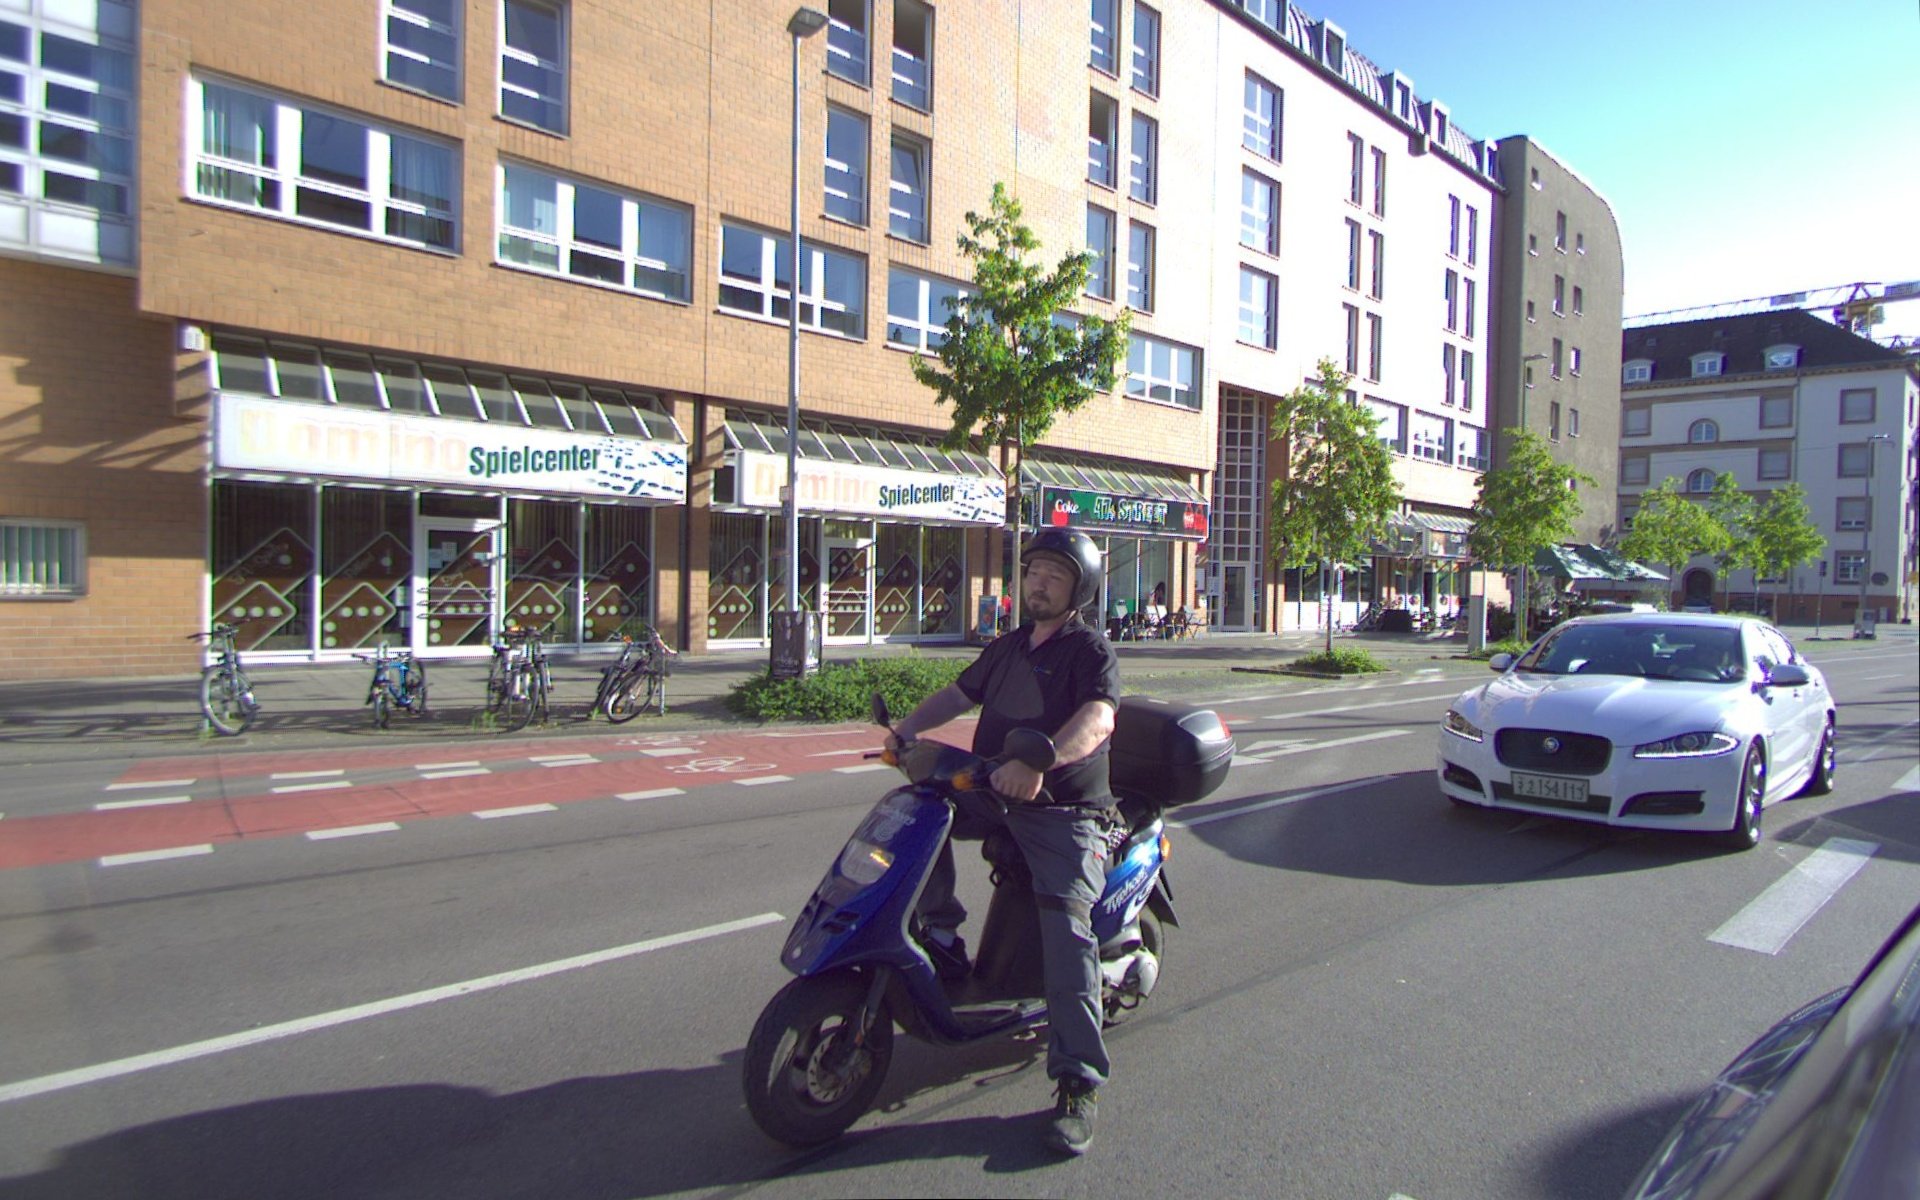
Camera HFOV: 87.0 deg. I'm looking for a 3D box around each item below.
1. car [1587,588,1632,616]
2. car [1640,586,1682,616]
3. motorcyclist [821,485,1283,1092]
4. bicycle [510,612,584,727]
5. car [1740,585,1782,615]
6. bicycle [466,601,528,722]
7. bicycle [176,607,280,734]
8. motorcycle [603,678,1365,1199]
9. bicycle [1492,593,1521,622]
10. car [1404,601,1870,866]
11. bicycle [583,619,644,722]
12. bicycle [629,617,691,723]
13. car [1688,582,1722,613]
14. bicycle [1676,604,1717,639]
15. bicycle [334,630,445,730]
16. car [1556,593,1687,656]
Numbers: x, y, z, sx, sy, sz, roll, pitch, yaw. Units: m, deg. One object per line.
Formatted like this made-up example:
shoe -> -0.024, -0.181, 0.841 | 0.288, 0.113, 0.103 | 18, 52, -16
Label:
car -> 35.148, 0.117, 54.698 | 1.629, 1.471, 3.603 | -1, -1, 39
car -> 36.919, 0.050, 53.282 | 1.658, 1.493, 3.784 | -1, 0, 37
motorcyclist -> 0.312, 0.453, 3.211 | 1.215, 1.494, 0.839 | 0, 1, -42
bicycle -> -4.772, 0.744, 11.625 | 0.543, 1.088, 1.954 | 0, 2, -29
car -> 47.213, 0.001, 59.645 | 1.691, 1.708, 4.373 | -1, -1, 41
bicycle -> -5.224, 0.637, 11.369 | 0.481, 1.151, 1.954 | 0, 2, -29
bicycle -> -7.541, 0.672, 10.499 | 0.613, 1.087, 1.955 | 0, 2, -28
motorcycle -> 0.270, 0.886, 3.199 | 2.508, 1.075, 0.839 | 0, 1, -42
bicycle -> 23.048, 0.320, 42.667 | 1.511, 1.184, 0.614 | 0, 2, -44
car -> 5.393, 0.735, 7.761 | 4.734, 1.432, 1.783 | 0, -1, -41
bicycle -> -4.106, 0.782, 11.913 | 0.543, 0.981, 1.956 | 0, 2, -23
bicycle -> -3.621, 0.788, 12.120 | 0.491, 1.035, 1.956 | 0, 2, -23
car -> 45.353, -0.190, 61.593 | 1.619, 1.707, 4.381 | 1, 2, 37
bicycle -> 26.525, 0.756, 36.432 | 1.965, 1.093, 0.767 | -2, 8, -44
bicycle -> -6.156, 0.823, 11.012 | 0.543, 0.845, 1.956 | 1, 2, -14
car -> 19.439, 0.670, 29.693 | 4.150, 1.657, 1.727 | 0, 2, -34
